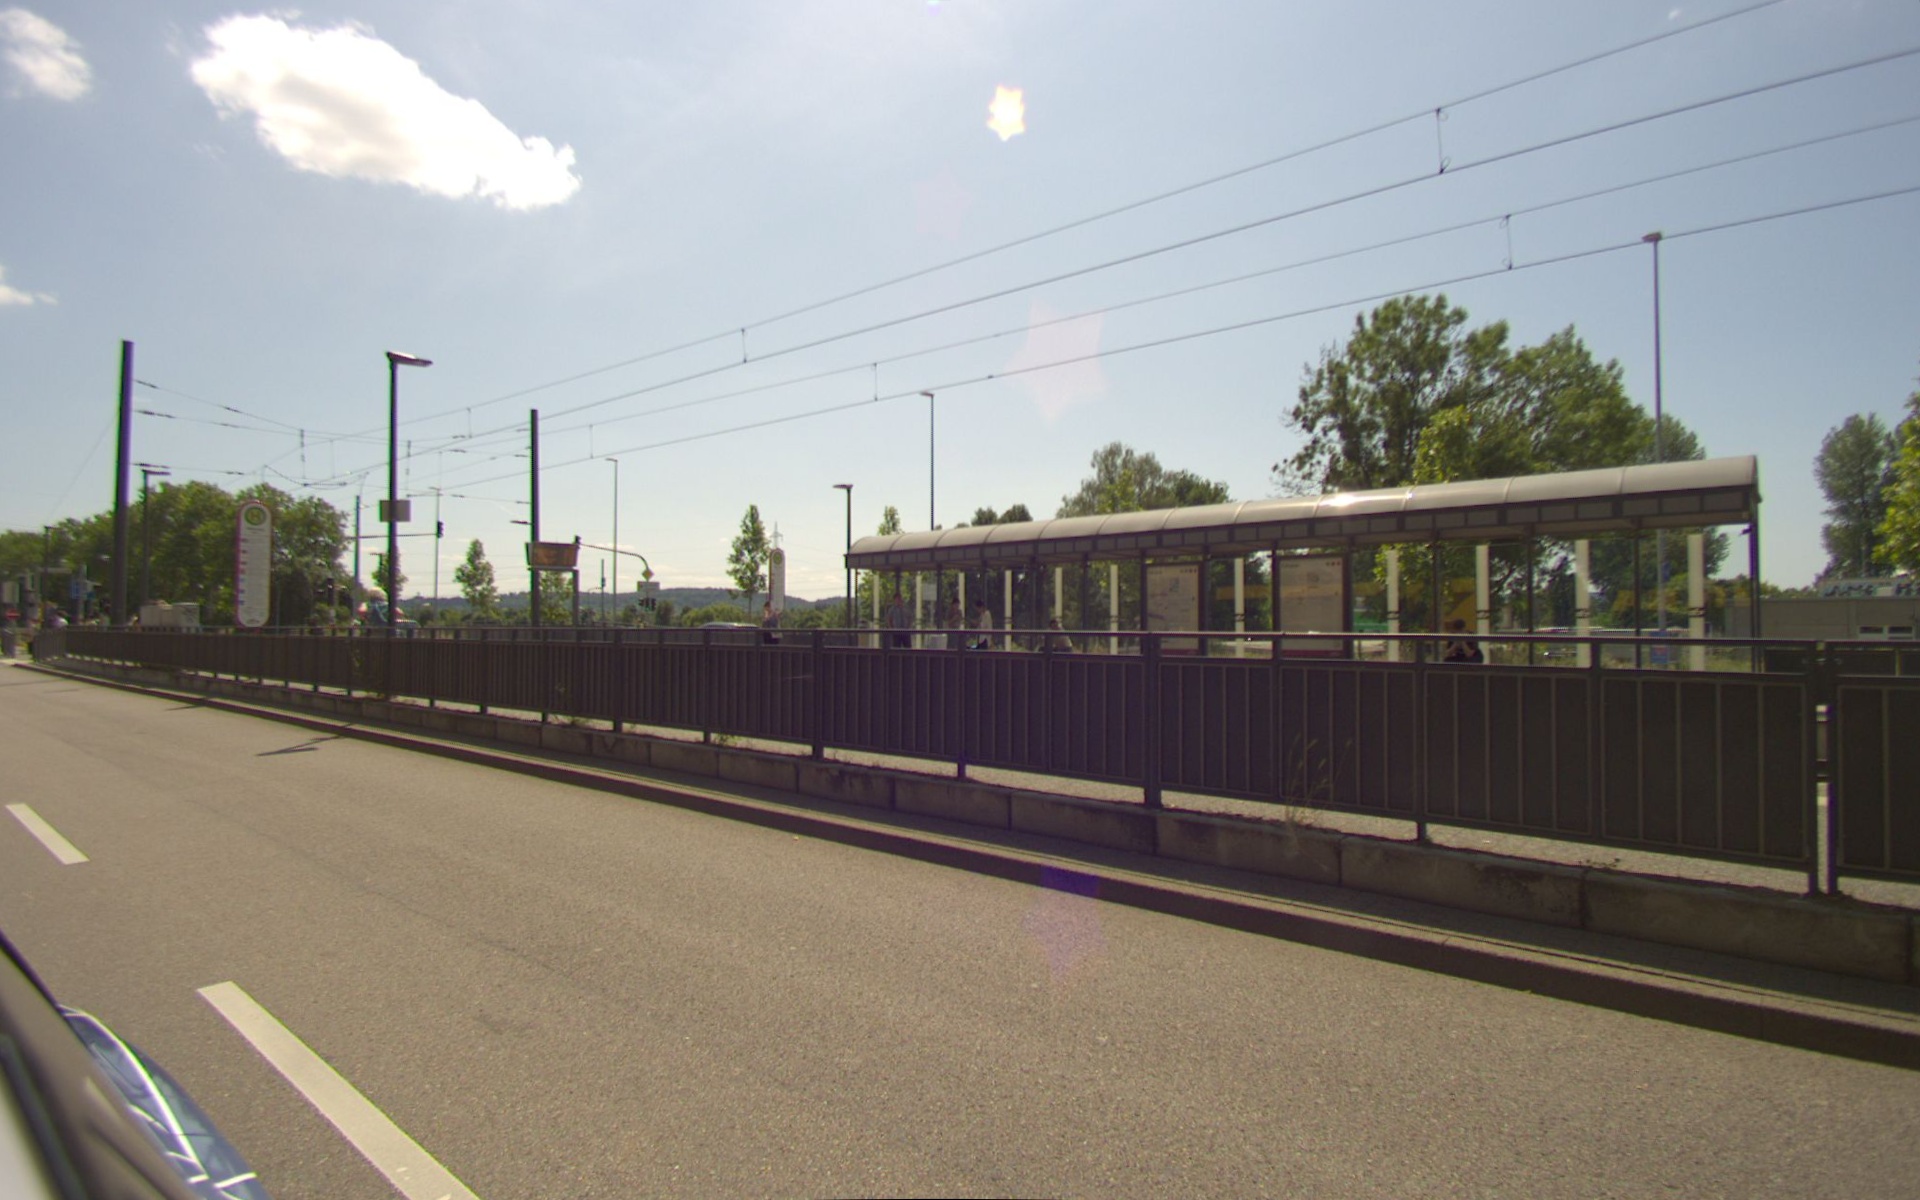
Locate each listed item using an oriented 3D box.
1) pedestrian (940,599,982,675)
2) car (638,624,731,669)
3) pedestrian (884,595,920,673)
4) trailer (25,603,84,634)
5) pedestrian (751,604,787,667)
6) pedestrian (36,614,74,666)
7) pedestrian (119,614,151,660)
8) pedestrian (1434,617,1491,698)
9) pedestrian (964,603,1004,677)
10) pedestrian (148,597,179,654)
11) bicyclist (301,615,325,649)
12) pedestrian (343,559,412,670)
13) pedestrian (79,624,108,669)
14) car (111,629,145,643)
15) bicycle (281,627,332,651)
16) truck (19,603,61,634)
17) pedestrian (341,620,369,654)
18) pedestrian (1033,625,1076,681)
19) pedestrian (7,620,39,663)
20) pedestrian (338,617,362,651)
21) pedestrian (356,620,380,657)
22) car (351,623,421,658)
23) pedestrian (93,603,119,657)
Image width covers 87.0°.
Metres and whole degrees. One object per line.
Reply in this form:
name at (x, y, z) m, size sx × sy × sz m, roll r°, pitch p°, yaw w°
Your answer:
pedestrian at (0.012, 0.807, 22.261) m, size 0.814 × 1.651 × 0.579 m, roll 0°, pitch -2°, yaw -11°
car at (-11.801, 1.928, 43.200) m, size 4.000 × 1.641 × 1.972 m, roll 0°, pitch 2°, yaw 42°
pedestrian at (-1.320, 0.773, 22.930) m, size 0.726 × 1.742 × 0.579 m, roll 0°, pitch -2°, yaw -11°
trailer at (-118.815, 2.472, 132.612) m, size 15.462 × 3.900 × 3.085 m, roll -1°, pitch -3°, yaw 38°
pedestrian at (-5.043, 0.929, 26.707) m, size 0.804 × 1.650 × 0.552 m, roll -1°, pitch -2°, yaw 34°
pedestrian at (-32.051, 1.401, 35.857) m, size 0.882 × 1.816 × 0.854 m, roll -1°, pitch -1°, yaw 38°
pedestrian at (-24.581, 1.091, 30.145) m, size 0.719 × 1.355 × 0.607 m, roll -1°, pitch -1°, yaw 40°
pedestrian at (7.650, 0.857, 15.414) m, size 0.639 × 1.199 × 0.570 m, roll -2°, pitch -2°, yaw 42°
pedestrian at (0.511, 0.855, 21.659) m, size 0.639 × 1.545 × 0.570 m, roll -2°, pitch -2°, yaw 42°
pedestrian at (-24.219, 0.774, 30.758) m, size 0.719 × 1.694 × 0.607 m, roll -1°, pitch -1°, yaw 40°
bicyclist at (-31.160, 1.545, 48.743) m, size 0.729 × 1.627 × 0.660 m, roll -1°, pitch -1°, yaw 26°
pedestrian at (-9.079, 0.234, 15.782) m, size 0.742 × 1.678 × 0.725 m, roll -2°, pitch -2°, yaw 40°
pedestrian at (-33.041, 1.773, 38.611) m, size 0.677 × 1.685 × 0.725 m, roll -1°, pitch -1°, yaw 38°
car at (-84.901, 3.648, 103.271) m, size 4.347 × 1.456 × 1.973 m, roll -2°, pitch -2°, yaw 41°
bicycle at (-31.292, 1.859, 48.472) m, size 0.760 × 1.109 × 1.961 m, roll -1°, pitch -1°, yaw 26°
truck at (-125.003, 2.490, 137.445) m, size 7.466 × 4.069 × 3.095 m, roll -1°, pitch -1°, yaw 39°
pedestrian at (-29.322, 1.783, 49.067) m, size 0.763 × 1.622 × 0.947 m, roll -2°, pitch -2°, yaw 39°
pedestrian at (1.899, 1.063, 20.383) m, size 0.639 × 1.103 × 0.570 m, roll -2°, pitch -2°, yaw 42°
pedestrian at (-35.357, 1.564, 38.189) m, size 0.763 × 1.584 × 0.777 m, roll -1°, pitch -1°, yaw 38°
pedestrian at (-28.903, 1.609, 47.922) m, size 0.763 × 1.560 × 0.754 m, roll -2°, pitch -2°, yaw 39°
pedestrian at (-27.697, 1.790, 47.364) m, size 0.763 × 1.685 × 0.754 m, roll -2°, pitch -2°, yaw 39°
car at (-29.210, 2.008, 51.496) m, size 4.000 × 1.641 × 1.972 m, roll -1°, pitch 0°, yaw 43°
pedestrian at (-25.626, 0.902, 30.366) m, size 0.556 × 1.590 × 0.492 m, roll -1°, pitch -2°, yaw 40°
